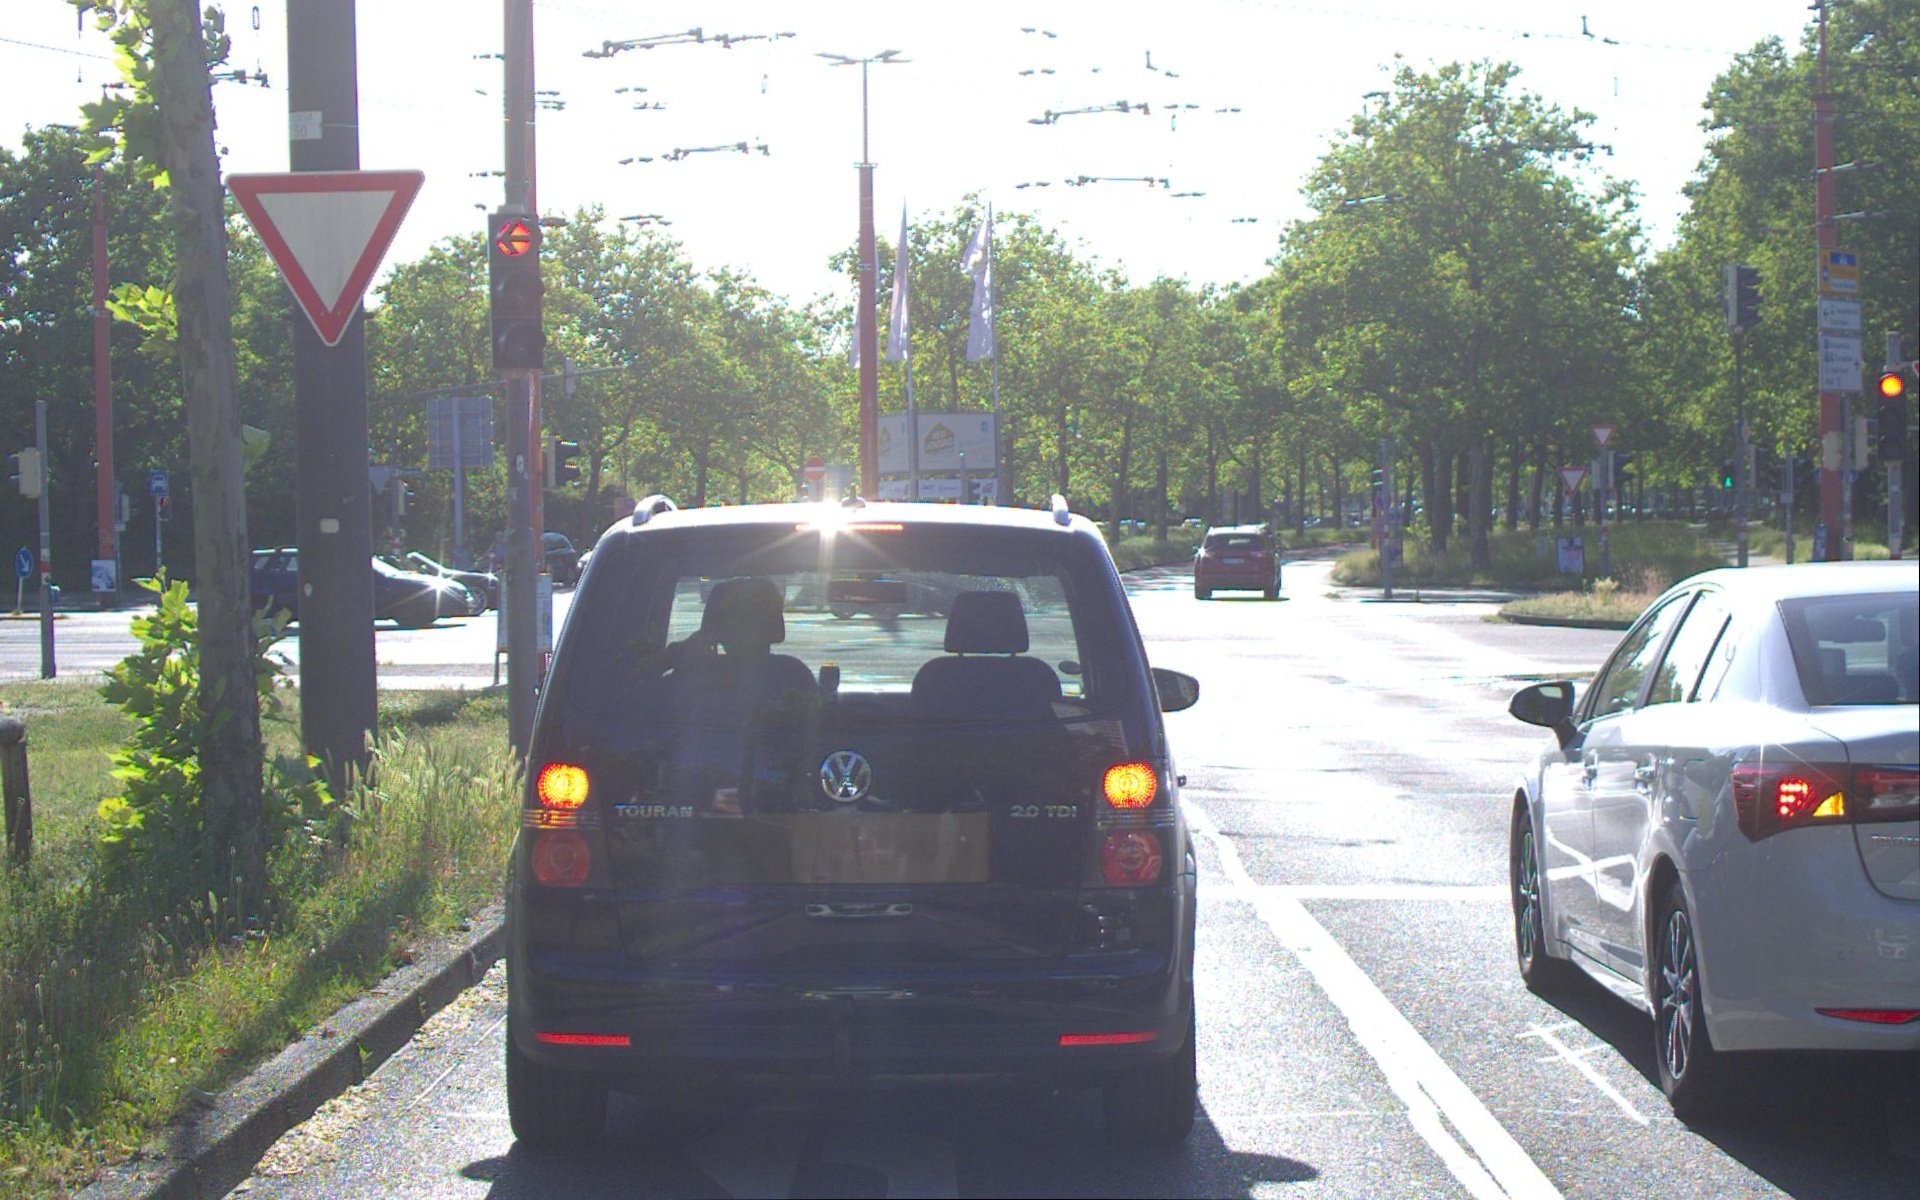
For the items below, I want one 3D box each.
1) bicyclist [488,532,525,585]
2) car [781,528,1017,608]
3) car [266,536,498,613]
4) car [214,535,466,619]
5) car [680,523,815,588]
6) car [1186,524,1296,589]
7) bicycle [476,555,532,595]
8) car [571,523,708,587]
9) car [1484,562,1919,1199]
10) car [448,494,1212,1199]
[{"bbox_3d":[-12.486,-1.153,94.618,0.693,1.452,0.874,0,1,18],"label":"bicyclist"},{"bbox_3d":[-1.146,-0.625,64.855,4.043,1.459,1.914,-1,1,-33],"label":"car"},{"bbox_3d":[-11.273,-0.504,67.134,4.046,1.459,1.912,0,1,19],"label":"car"},{"bbox_3d":[-11.071,-0.416,61.629,4.226,1.459,1.914,0,1,-3],"label":"car"},{"bbox_3d":[-5.629,-1.198,91.763,1.995,1.679,4.825,0,1,17],"label":"car"},{"bbox_3d":[6.562,-1.029,79.890,1.909,1.459,4.372,0,1,13],"label":"car"},{"bbox_3d":[-12.517,-0.685,94.406,0.735,1.086,1.959,0,1,18],"label":"bicycle"},{"bbox_3d":[-8.651,-1.238,93.220,1.995,1.679,4.825,0,1,17],"label":"car"},{"bbox_3d":[2.686,0.631,10.066,1.715,1.449,4.144,0,1,1],"label":"car"},{"bbox_3d":[-0.318,0.547,9.865,1.737,1.635,4.000,0,1,-1],"label":"car"}]
